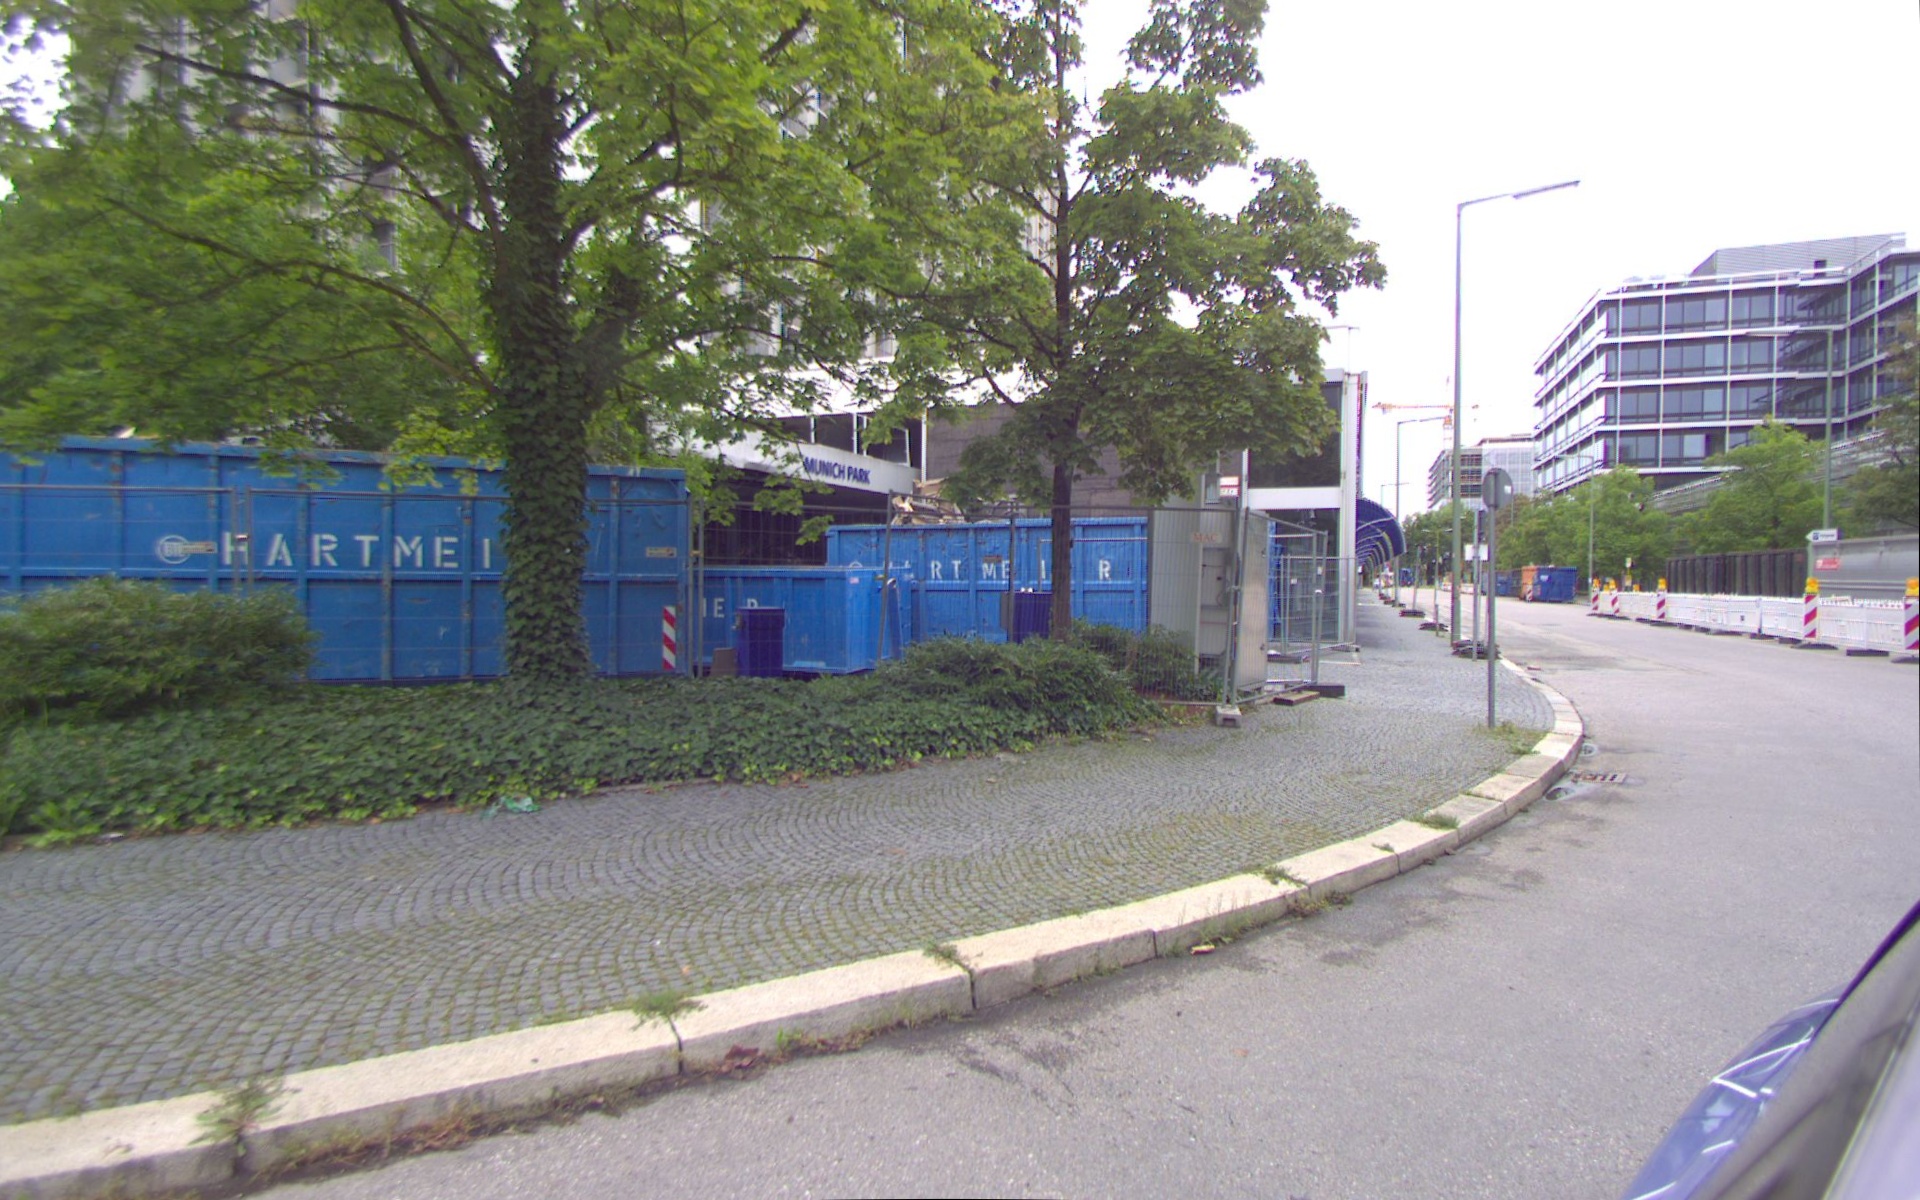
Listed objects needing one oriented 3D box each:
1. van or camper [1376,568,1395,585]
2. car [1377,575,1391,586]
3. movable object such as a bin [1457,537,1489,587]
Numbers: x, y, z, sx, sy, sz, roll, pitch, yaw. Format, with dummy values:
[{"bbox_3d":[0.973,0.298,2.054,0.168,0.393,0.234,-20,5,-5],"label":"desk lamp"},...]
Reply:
[{"bbox_3d":[70.184,-3.875,166.853,2.641,2.801,6.857,1,2,25],"label":"van or camper"},{"bbox_3d":[67.538,-3.155,161.214,1.893,1.657,3.969,1,2,23],"label":"car"},{"bbox_3d":[67.447,-4.945,133.227,3.210,6.401,8.269,1,1,24],"label":"movable object such as a bin"}]
